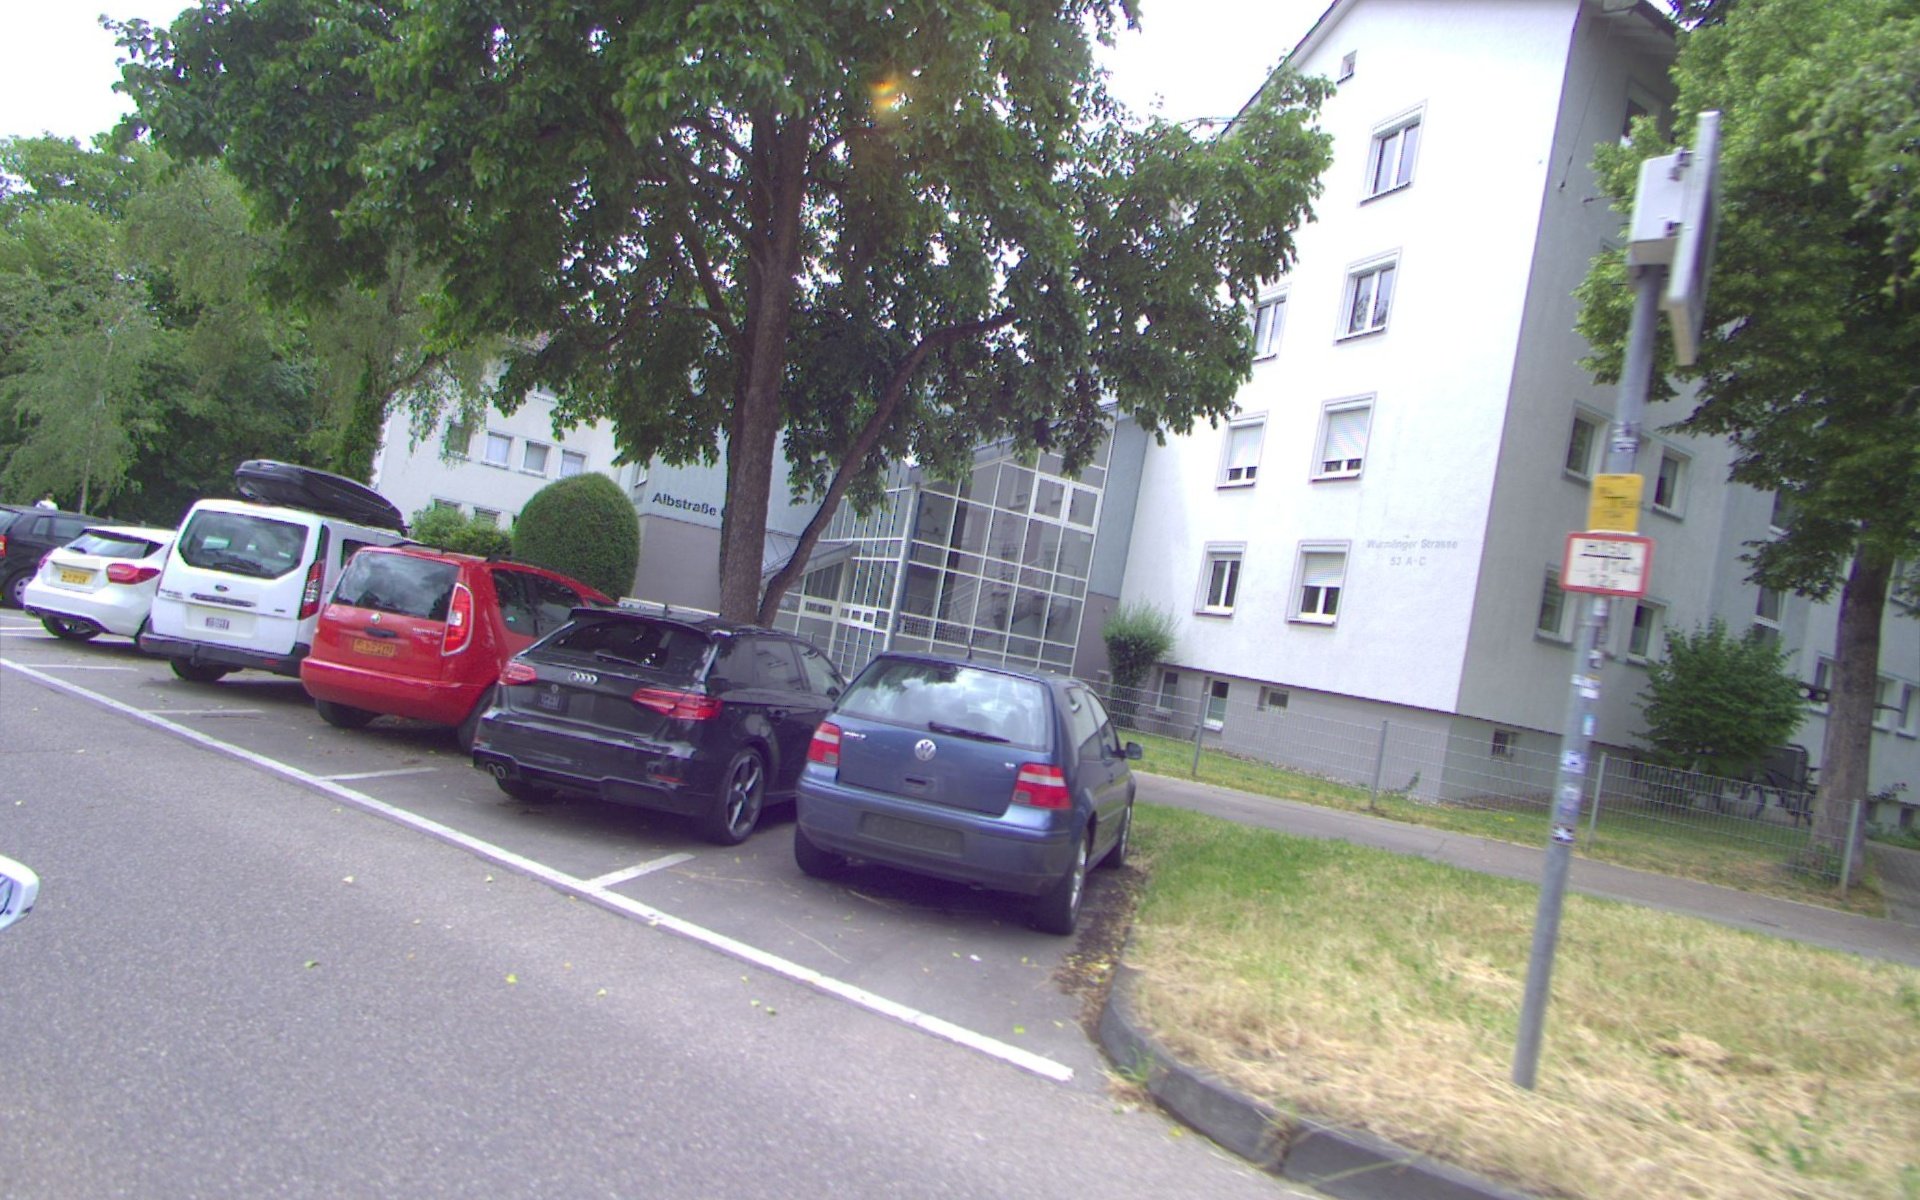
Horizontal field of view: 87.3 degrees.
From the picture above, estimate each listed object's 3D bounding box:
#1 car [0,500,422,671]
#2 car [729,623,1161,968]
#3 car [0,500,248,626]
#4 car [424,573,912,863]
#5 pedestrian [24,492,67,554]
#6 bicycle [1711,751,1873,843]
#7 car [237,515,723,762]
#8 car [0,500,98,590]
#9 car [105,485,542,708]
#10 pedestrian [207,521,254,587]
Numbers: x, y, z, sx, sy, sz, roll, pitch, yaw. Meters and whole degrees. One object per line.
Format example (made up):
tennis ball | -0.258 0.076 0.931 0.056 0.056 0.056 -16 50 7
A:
car | -9.286 -0.046 12.816 1.882 1.464 3.988 8 -4 17
car | 0.253 1.165 7.015 1.723 1.420 3.986 8 -4 17
car | -13.689 -0.590 15.663 1.809 1.464 3.906 8 -4 12
car | -1.858 0.863 7.886 1.723 1.420 4.050 9 -4 14
pedestrian | -27.193 -2.290 29.916 0.732 1.690 0.650 7 -1 37
bicycle | 13.863 3.260 16.816 1.894 1.089 0.541 10 -3 25
car | -4.204 0.472 9.678 1.849 1.636 4.018 8 -4 16
car | -18.085 -1.199 17.829 1.809 1.464 3.905 8 -3 8
car | -6.634 0.115 11.171 1.753 1.773 4.107 9 -3 5
pedestrian | -19.367 -1.226 26.708 0.732 1.621 0.650 7 -1 37
